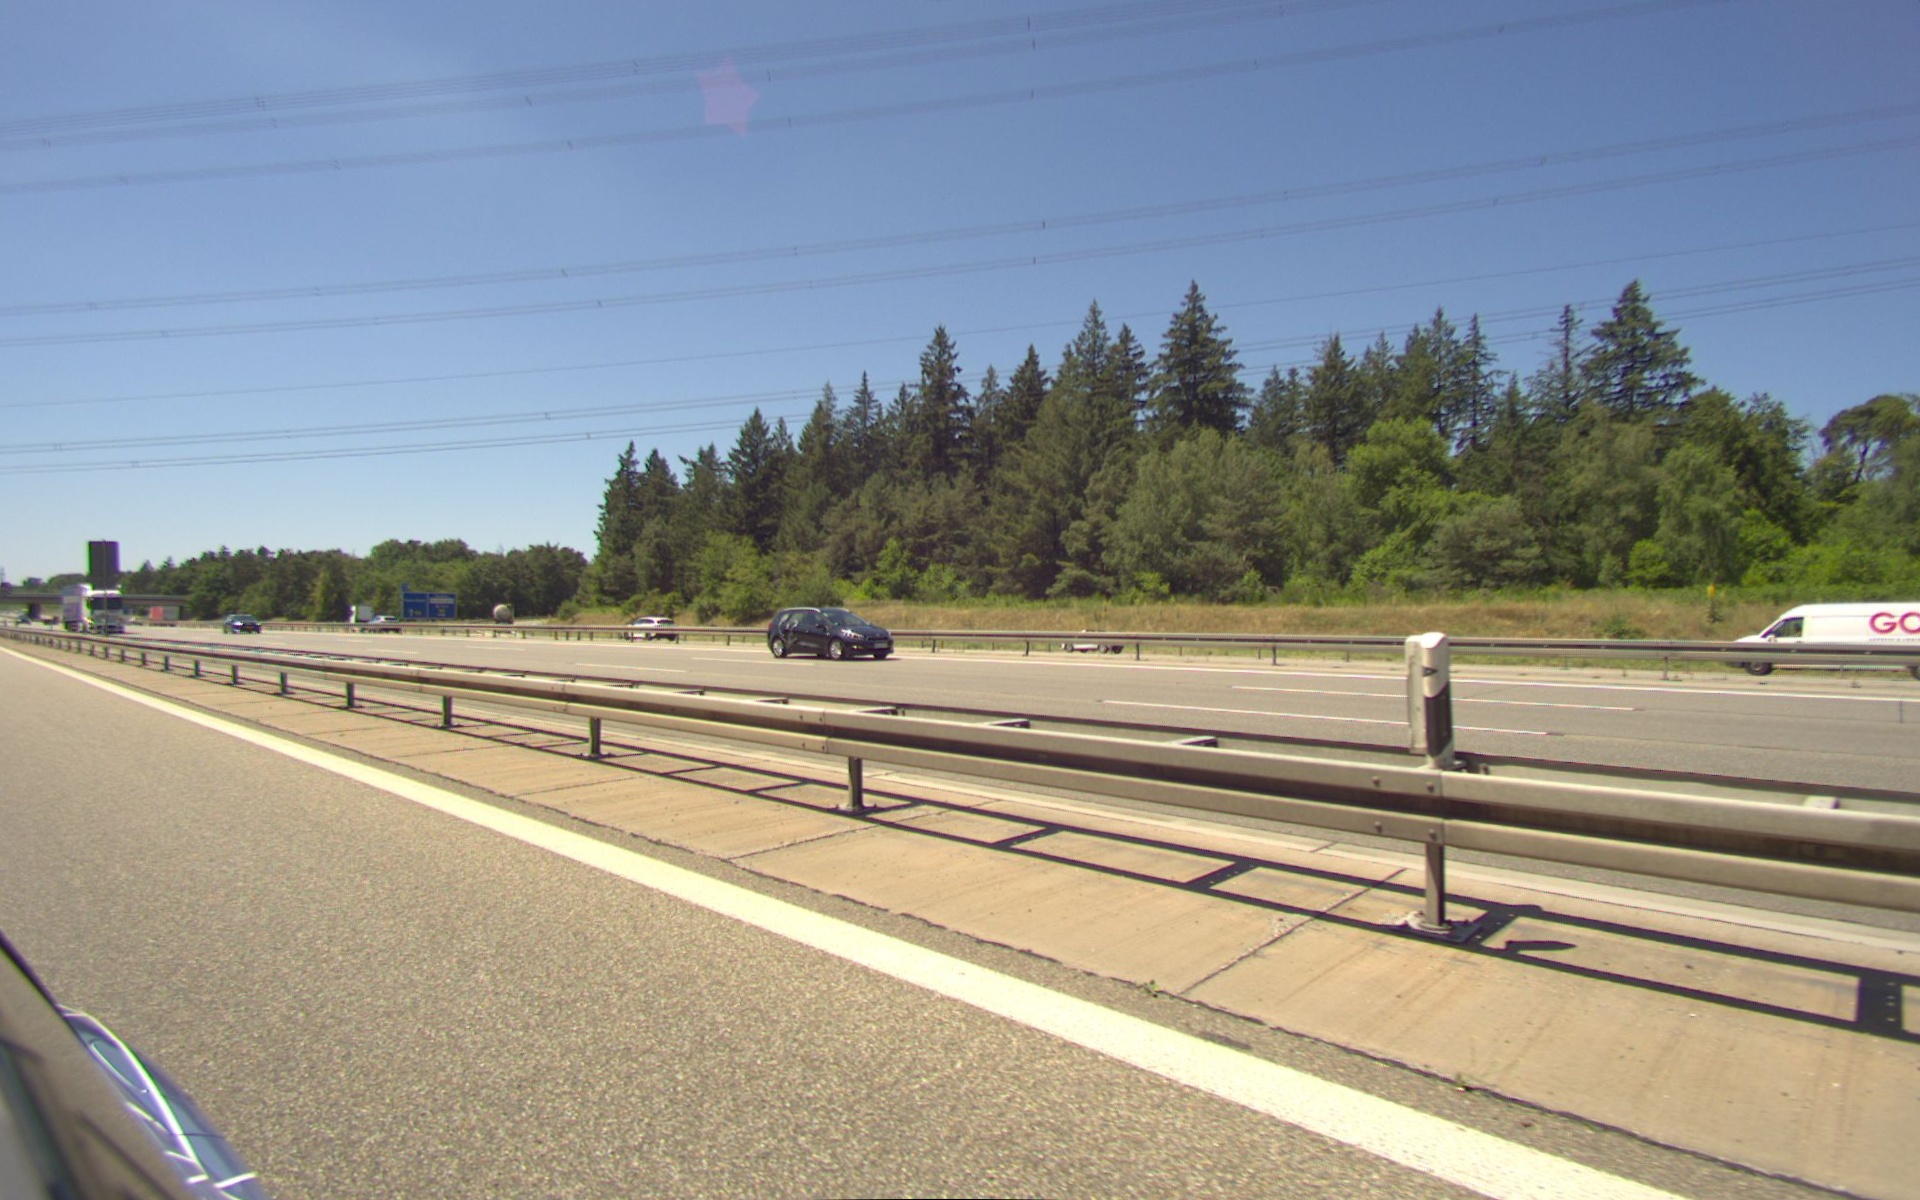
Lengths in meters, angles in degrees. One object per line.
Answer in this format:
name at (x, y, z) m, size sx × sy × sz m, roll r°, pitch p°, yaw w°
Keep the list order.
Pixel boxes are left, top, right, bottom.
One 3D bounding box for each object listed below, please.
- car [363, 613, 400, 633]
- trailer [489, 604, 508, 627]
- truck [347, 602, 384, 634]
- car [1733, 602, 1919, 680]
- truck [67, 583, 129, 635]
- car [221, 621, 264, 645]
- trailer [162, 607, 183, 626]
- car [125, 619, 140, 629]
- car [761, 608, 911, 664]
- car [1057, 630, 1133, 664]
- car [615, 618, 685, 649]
car at (-55.303, 2.207, 96.726) m, size 3.999 × 1.796 × 1.972 m, roll 0°, pitch -1°, yaw 42°
trailer at (-77.249, 2.617, 169.396) m, size 2.733 × 3.827 × 8.965 m, roll 0°, pitch -2°, yaw -26°
truck at (-85.921, 2.595, 146.171) m, size 2.827 × 4.378 × 7.535 m, roll 1°, pitch 0°, yaw -45°
car at (31.040, 1.353, 34.802) m, size 6.915 × 2.563 × 1.971 m, roll 0°, pitch -1°, yaw 44°
truck at (-71.480, 0.793, 83.806) m, size 11.047 × 4.089 × 2.673 m, roll -1°, pitch -1°, yaw 43°
car at (-54.682, 2.481, 77.122) m, size 4.001 × 1.730 × 1.971 m, roll -1°, pitch -1°, yaw 44°
trailer at (-160.677, 3.401, 206.351) m, size 2.510 × 3.826 × 13.758 m, roll 1°, pitch -2°, yaw -41°
car at (-165.637, 4.781, 202.497) m, size 4.826 × 1.696 × 1.752 m, roll 1°, pitch 0°, yaw 43°
car at (-3.593, 0.987, 28.985) m, size 4.240 × 1.487 × 1.973 m, roll -1°, pitch -1°, yaw 41°
car at (7.826, 2.670, 58.758) m, size 3.997 × 1.796 × 1.973 m, roll 0°, pitch -1°, yaw 40°
car at (-19.364, 2.063, 63.114) m, size 4.811 × 1.796 × 1.972 m, roll 0°, pitch -1°, yaw 42°
